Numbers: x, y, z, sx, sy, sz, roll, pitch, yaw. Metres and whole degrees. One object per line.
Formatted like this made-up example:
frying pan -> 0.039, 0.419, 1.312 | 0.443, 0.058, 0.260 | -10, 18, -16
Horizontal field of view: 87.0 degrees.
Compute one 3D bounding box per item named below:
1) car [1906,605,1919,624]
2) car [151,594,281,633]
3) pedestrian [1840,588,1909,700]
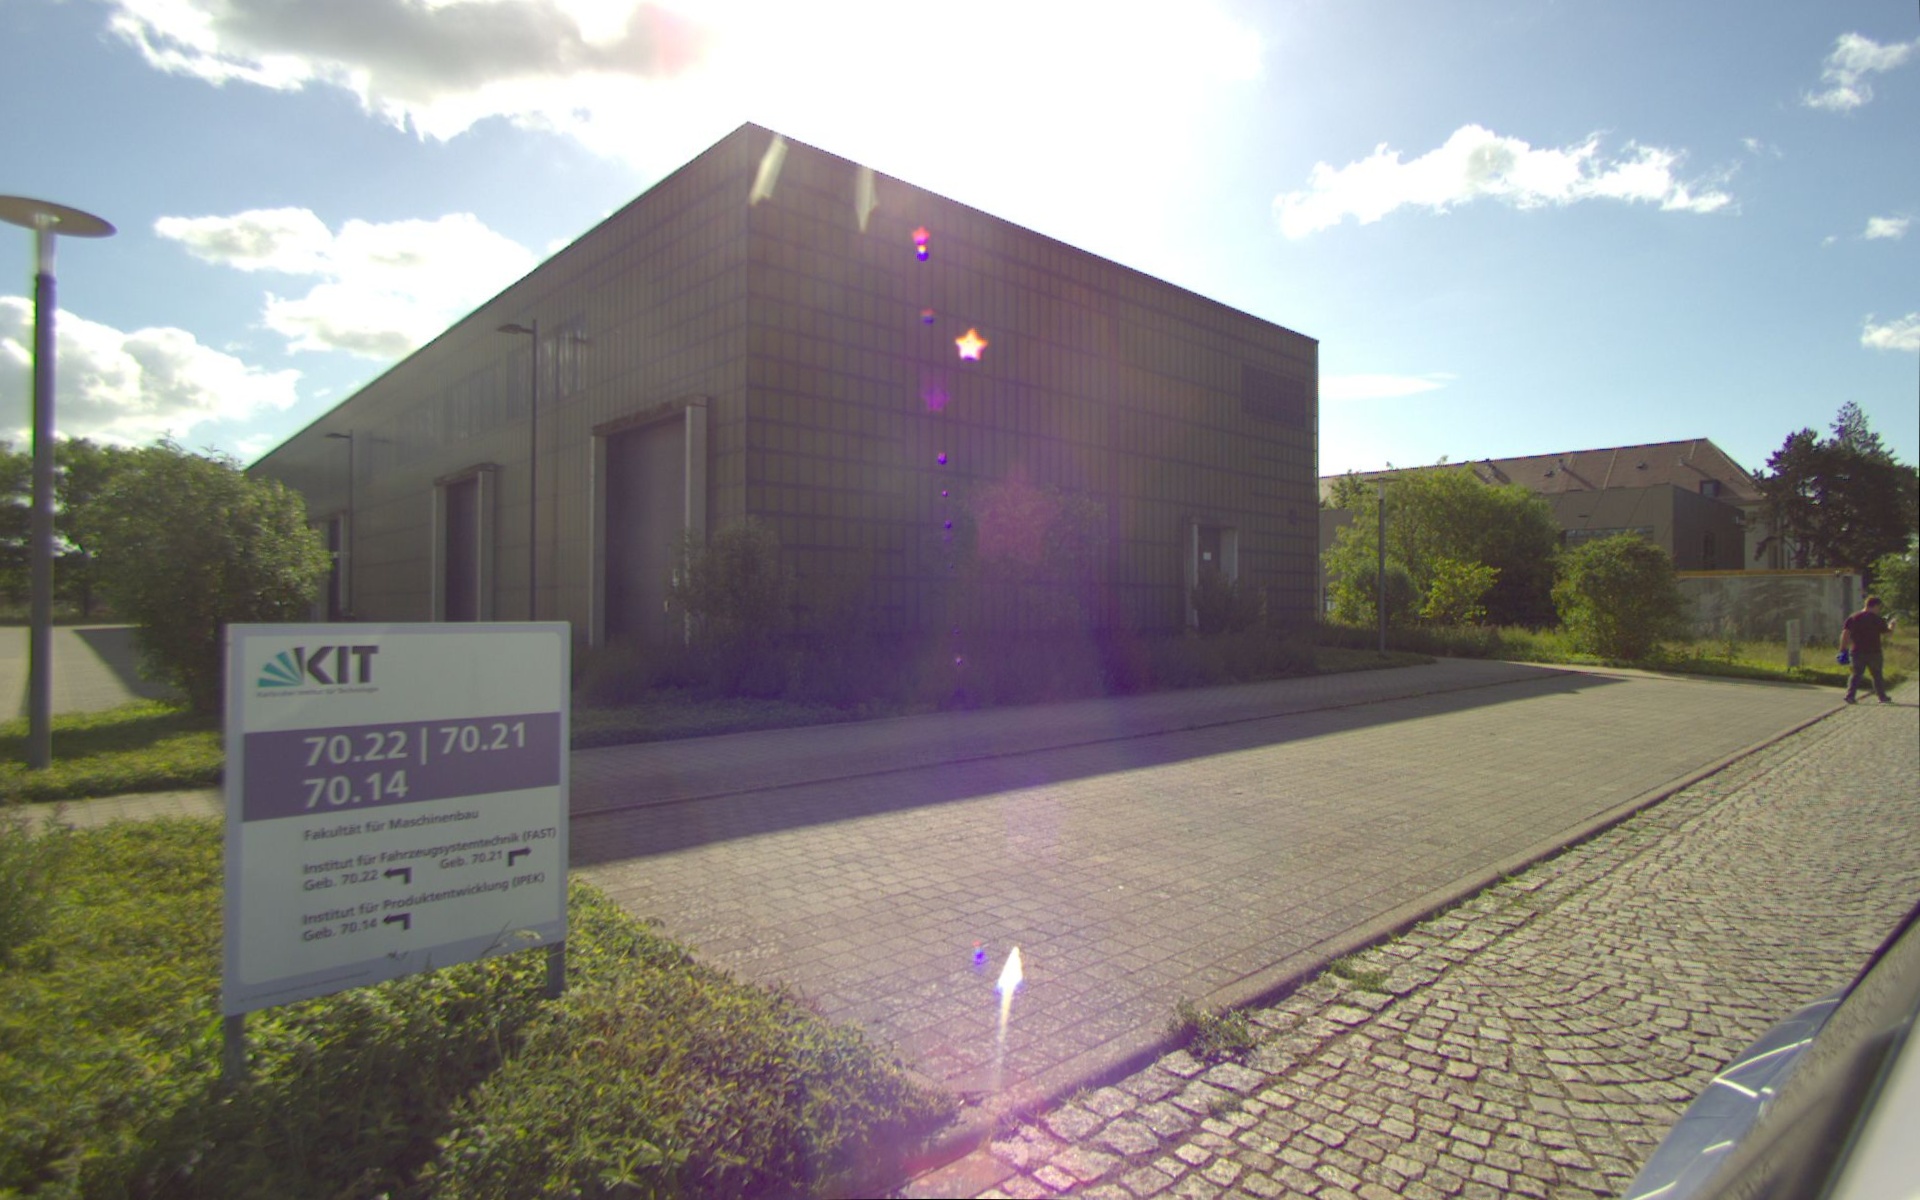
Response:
car -> 64.532, 0.965, 66.836 | 2.897, 1.275, 1.270 | -1, -1, 39
car -> -33.457, 0.581, 45.562 | 4.503, 1.684, 1.995 | 0, -1, -44
pedestrian -> 15.420, 0.710, 17.061 | 1.051, 1.803, 0.795 | 1, 0, -44
